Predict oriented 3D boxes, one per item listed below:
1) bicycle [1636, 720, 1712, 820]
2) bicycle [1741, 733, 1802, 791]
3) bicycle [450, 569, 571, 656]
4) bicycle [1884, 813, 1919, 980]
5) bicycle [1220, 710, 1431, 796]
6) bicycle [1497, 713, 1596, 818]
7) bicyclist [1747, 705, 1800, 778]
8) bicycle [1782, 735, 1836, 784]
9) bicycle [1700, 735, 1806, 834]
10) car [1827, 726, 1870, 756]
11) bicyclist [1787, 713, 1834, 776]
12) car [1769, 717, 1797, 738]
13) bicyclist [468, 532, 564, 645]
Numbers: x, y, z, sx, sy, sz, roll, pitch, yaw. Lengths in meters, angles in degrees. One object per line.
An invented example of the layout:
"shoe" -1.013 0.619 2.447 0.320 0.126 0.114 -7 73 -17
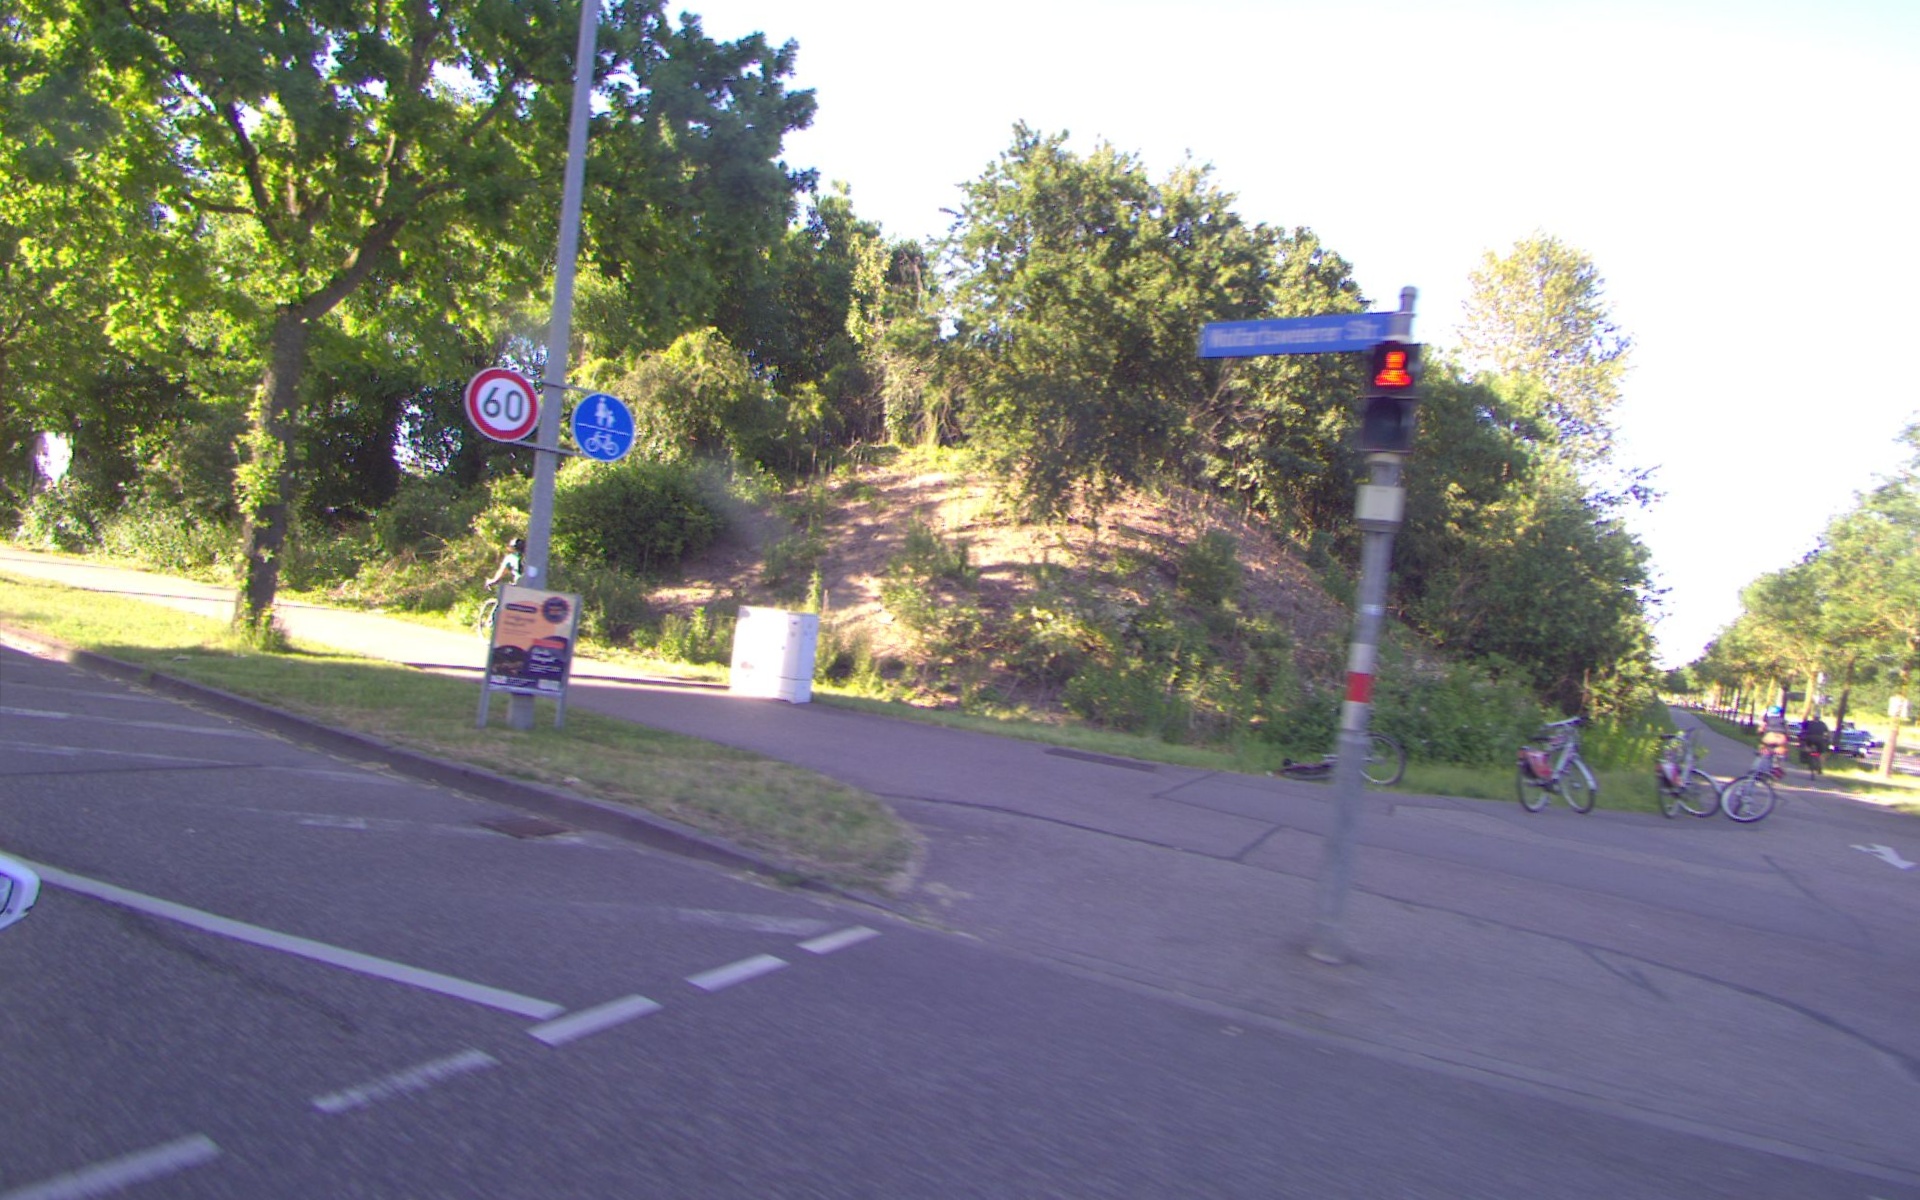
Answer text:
"bicycle" 9.252 2.176 13.010 0.448 1.160 1.649 7 -1 44
"bicycle" 18.659 3.703 23.172 0.688 1.049 2.258 9 1 32
"bicycle" -6.726 0.176 15.014 1.903 1.085 0.517 6 0 29
"bicycle" 7.109 2.036 6.127 2.012 1.004 0.572 7 0 32
"bicycle" 4.331 1.810 12.017 2.156 0.629 0.842 7 1 -3
"bicycle" 6.816 1.884 11.648 0.448 1.065 1.985 7 -1 44
"bicyclist" 18.720 3.254 23.171 0.688 1.527 0.663 9 2 33
"bicycle" 23.201 4.347 27.538 0.688 1.049 2.258 9 1 32
"bicycle" 10.772 2.456 13.633 2.249 1.119 0.691 7 2 -43
"car" 56.145 8.890 63.624 1.597 1.548 3.842 4 -2 37
"bicyclist" 23.297 3.936 27.576 0.688 1.567 0.813 9 2 33
"car" 71.783 11.123 87.766 1.597 1.548 3.842 4 -2 37
"bicyclist" -6.610 -0.172 14.984 1.018 1.541 0.686 6 0 29
